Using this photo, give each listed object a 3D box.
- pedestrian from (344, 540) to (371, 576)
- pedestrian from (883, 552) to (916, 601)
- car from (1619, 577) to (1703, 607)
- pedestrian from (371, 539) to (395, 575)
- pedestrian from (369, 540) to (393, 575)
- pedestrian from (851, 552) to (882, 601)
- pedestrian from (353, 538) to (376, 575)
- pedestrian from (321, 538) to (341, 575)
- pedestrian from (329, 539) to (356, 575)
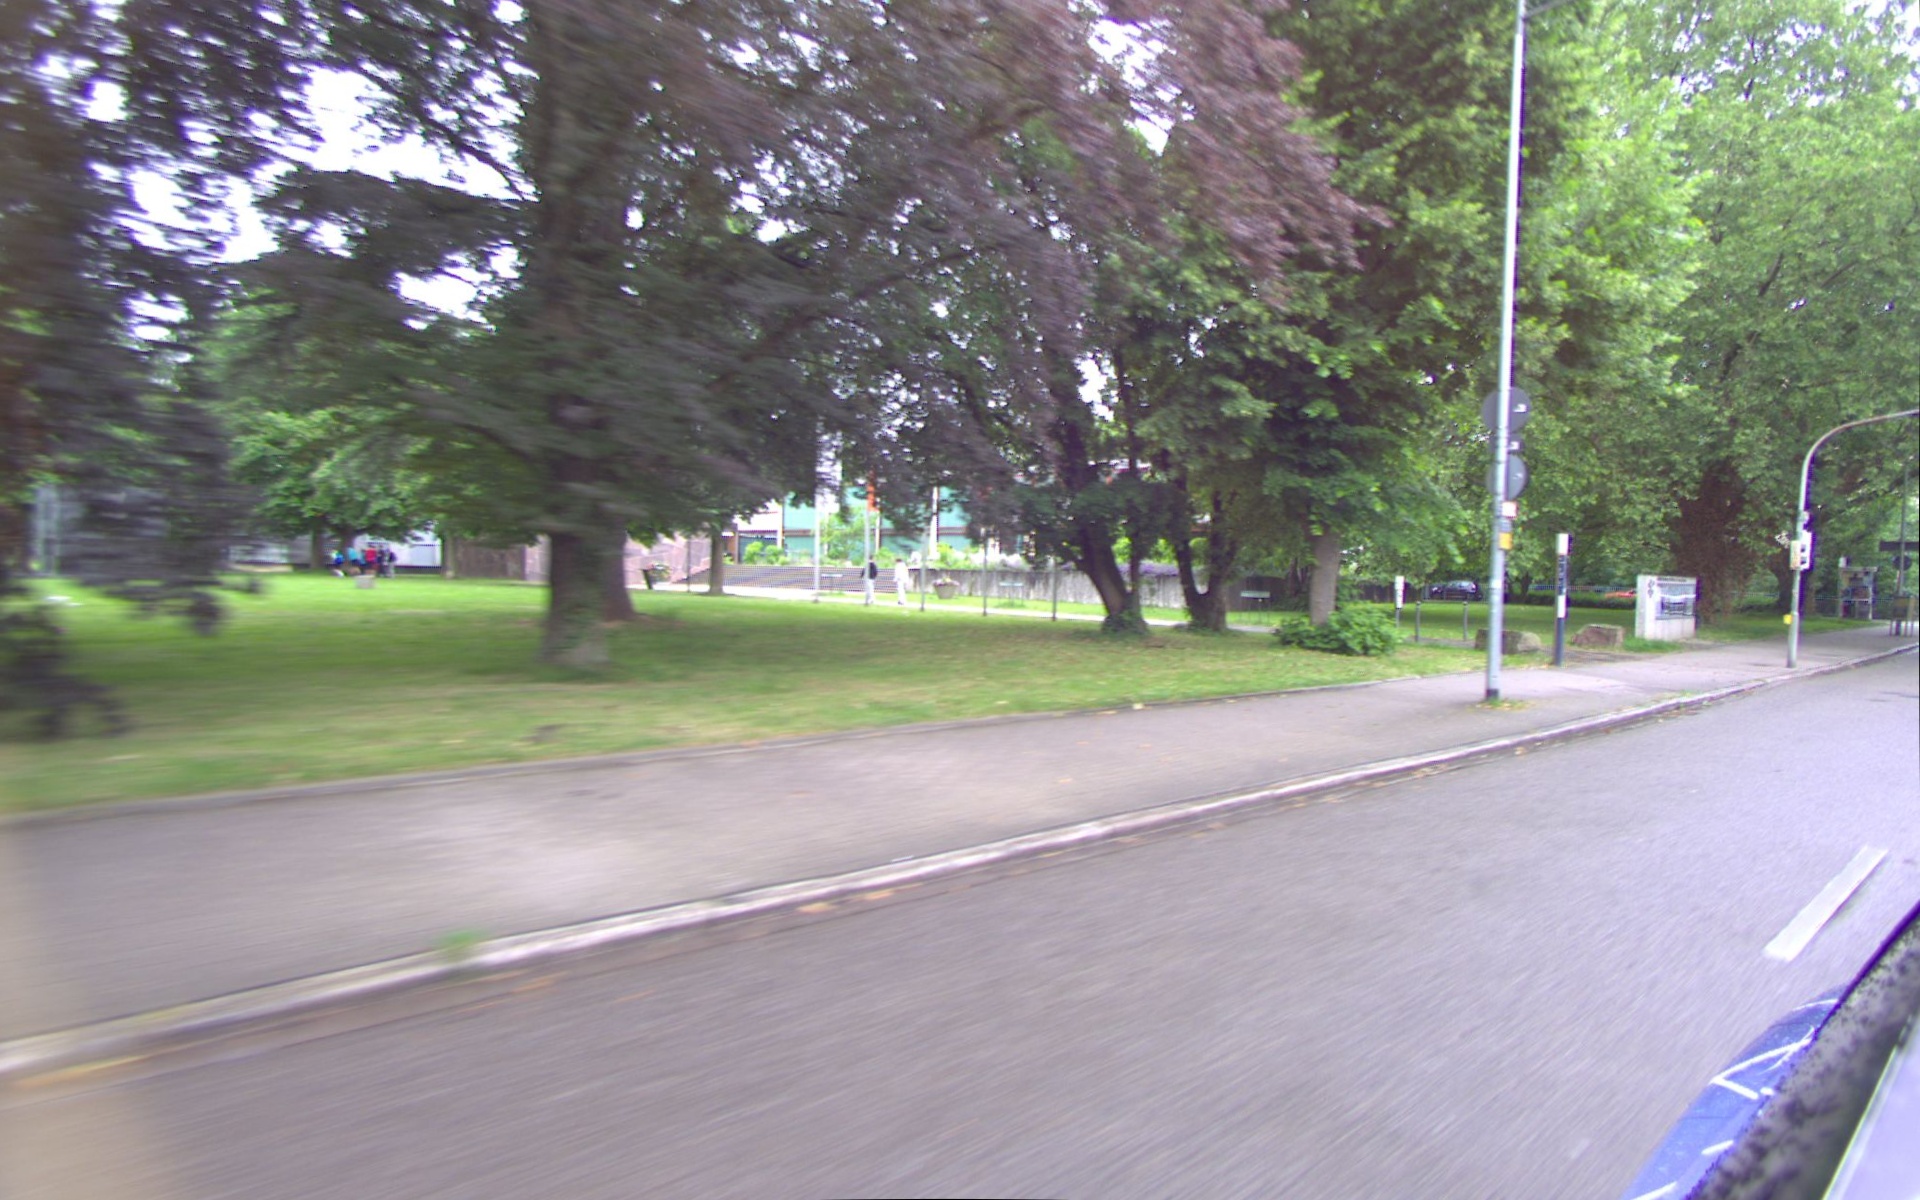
[{"bbox_3d":[-30.723,-2.143,51.631,0.829,1.785,0.854,-1,-1,16],"label":"pedestrian"},{"bbox_3d":[-2.262,-0.859,37.831,0.838,1.785,0.865,-1,-1,44],"label":"pedestrian"},{"bbox_3d":[43.992,-0.519,63.574,1.966,1.737,3.993,0,3,-43],"label":"car"},{"bbox_3d":[-29.251,-2.161,51.326,0.838,1.785,0.844,-1,-1,44],"label":"pedestrian"},{"bbox_3d":[-29.811,-2.188,52.117,0.767,1.785,0.829,-1,-1,37],"label":"pedestrian"},{"bbox_3d":[-3.425,-0.858,37.221,0.838,1.785,0.760,-1,-1,44],"label":"pedestrian"},{"bbox_3d":[-29.610,-2.133,50.312,0.838,1.785,0.760,-1,-1,44],"label":"pedestrian"},{"bbox_3d":[-30.881,-2.140,49.695,0.824,1.785,0.859,0,-1,-30],"label":"pedestrian"},{"bbox_3d":[-30.926,-2.140,50.723,0.825,1.785,0.858,-1,0,1],"label":"pedestrian"}]
